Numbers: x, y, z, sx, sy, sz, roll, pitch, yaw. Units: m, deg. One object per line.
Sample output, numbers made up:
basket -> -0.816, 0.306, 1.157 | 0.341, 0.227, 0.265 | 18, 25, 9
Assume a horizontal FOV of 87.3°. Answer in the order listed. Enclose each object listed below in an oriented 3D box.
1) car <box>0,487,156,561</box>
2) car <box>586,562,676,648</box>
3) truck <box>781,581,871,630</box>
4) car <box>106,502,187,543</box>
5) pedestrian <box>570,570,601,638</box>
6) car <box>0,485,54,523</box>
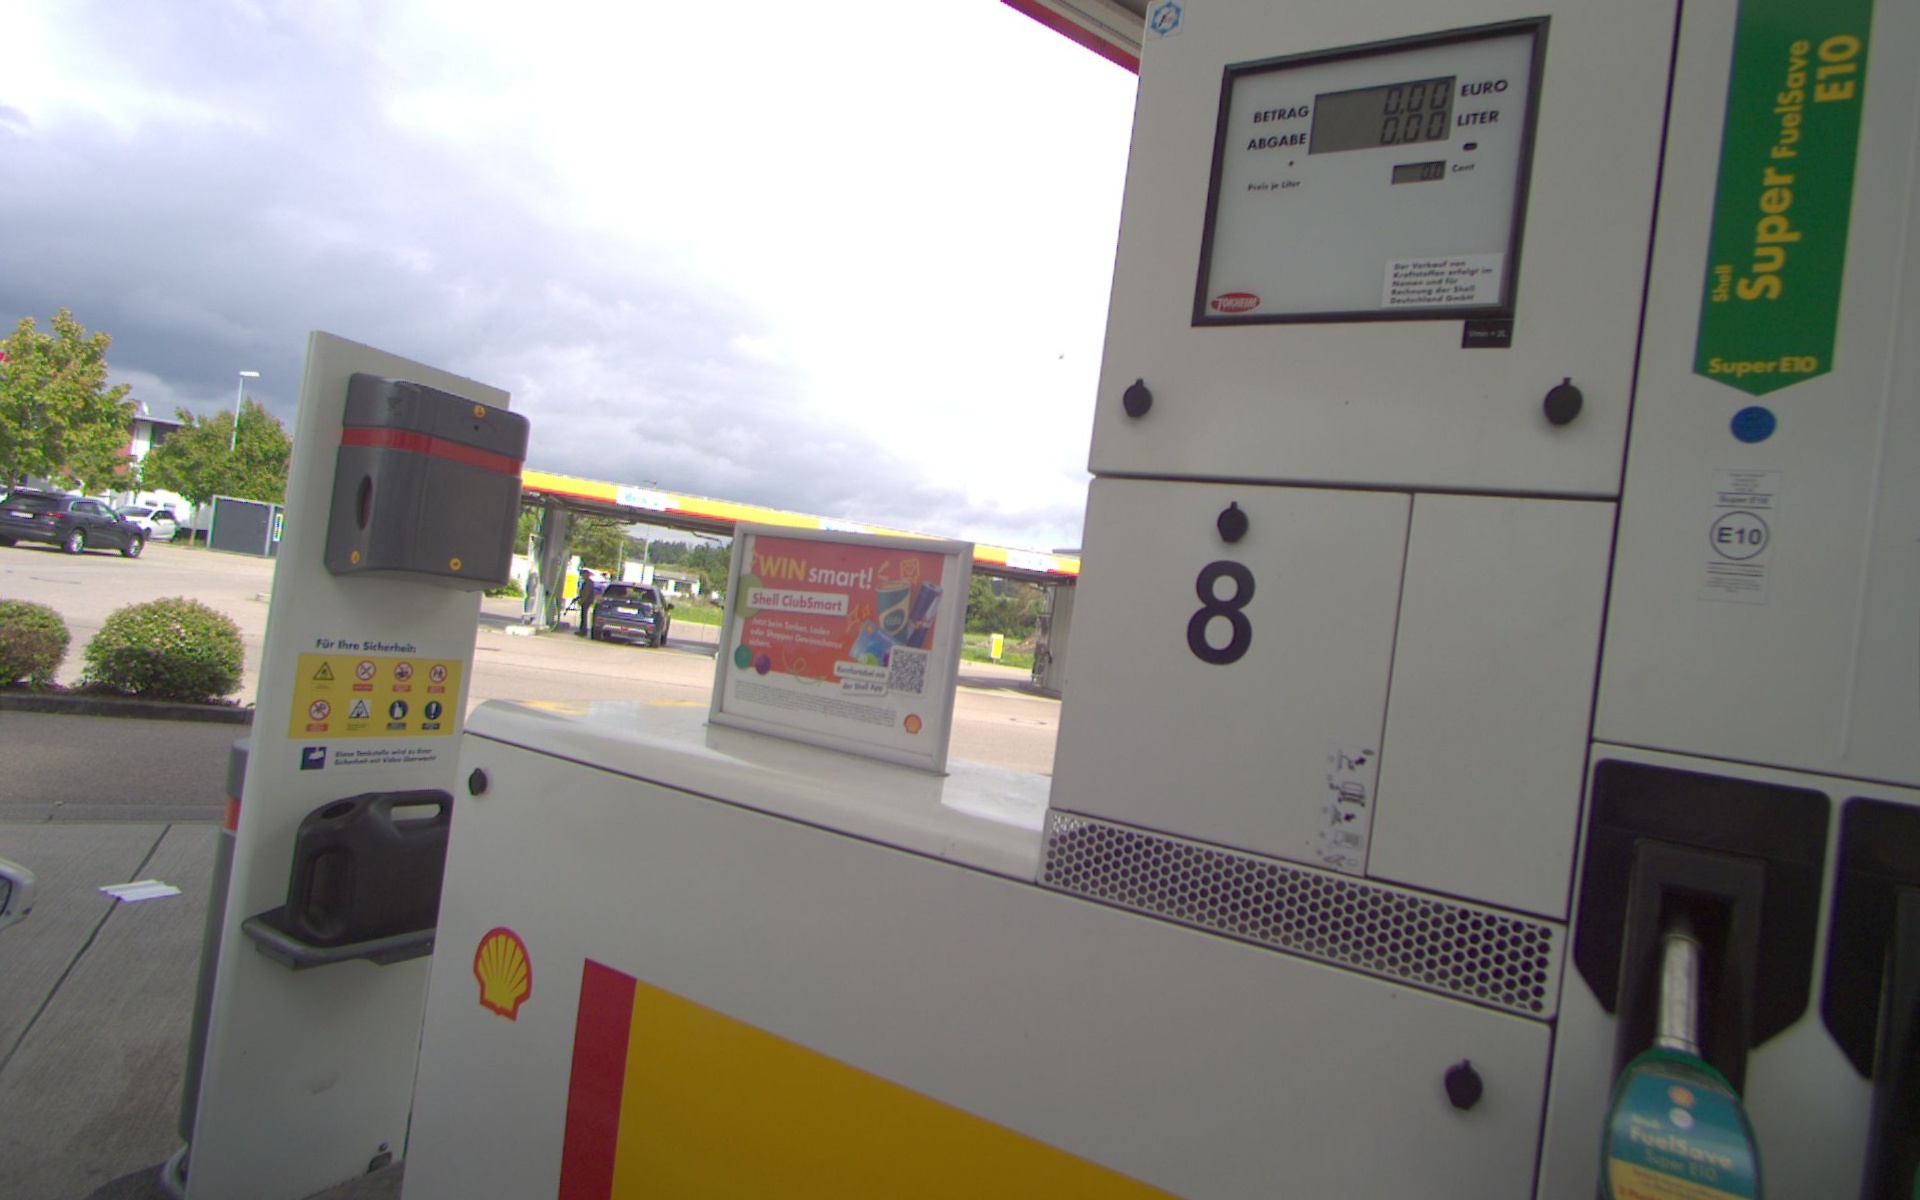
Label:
car -> -25.915, -2.165, 29.268 | 1.855, 1.566, 4.498 | 8, -2, -10
car -> -8.684, 0.154, 26.867 | 1.696, 1.919, 3.800 | 8, -2, -12
truck -> -12.994, 0.567, 97.512 | 7.978, 3.575, 2.687 | 8, -2, -19
car -> -35.243, -3.337, 43.655 | 1.346, 1.322, 3.098 | 8, -2, -12
pedestrian -> -9.991, 0.109, 26.849 | 0.550, 1.742, 0.526 | 7, -1, -20
car -> -57.342, -5.900, 60.253 | 2.149, 1.854, 4.870 | 8, -2, -11
